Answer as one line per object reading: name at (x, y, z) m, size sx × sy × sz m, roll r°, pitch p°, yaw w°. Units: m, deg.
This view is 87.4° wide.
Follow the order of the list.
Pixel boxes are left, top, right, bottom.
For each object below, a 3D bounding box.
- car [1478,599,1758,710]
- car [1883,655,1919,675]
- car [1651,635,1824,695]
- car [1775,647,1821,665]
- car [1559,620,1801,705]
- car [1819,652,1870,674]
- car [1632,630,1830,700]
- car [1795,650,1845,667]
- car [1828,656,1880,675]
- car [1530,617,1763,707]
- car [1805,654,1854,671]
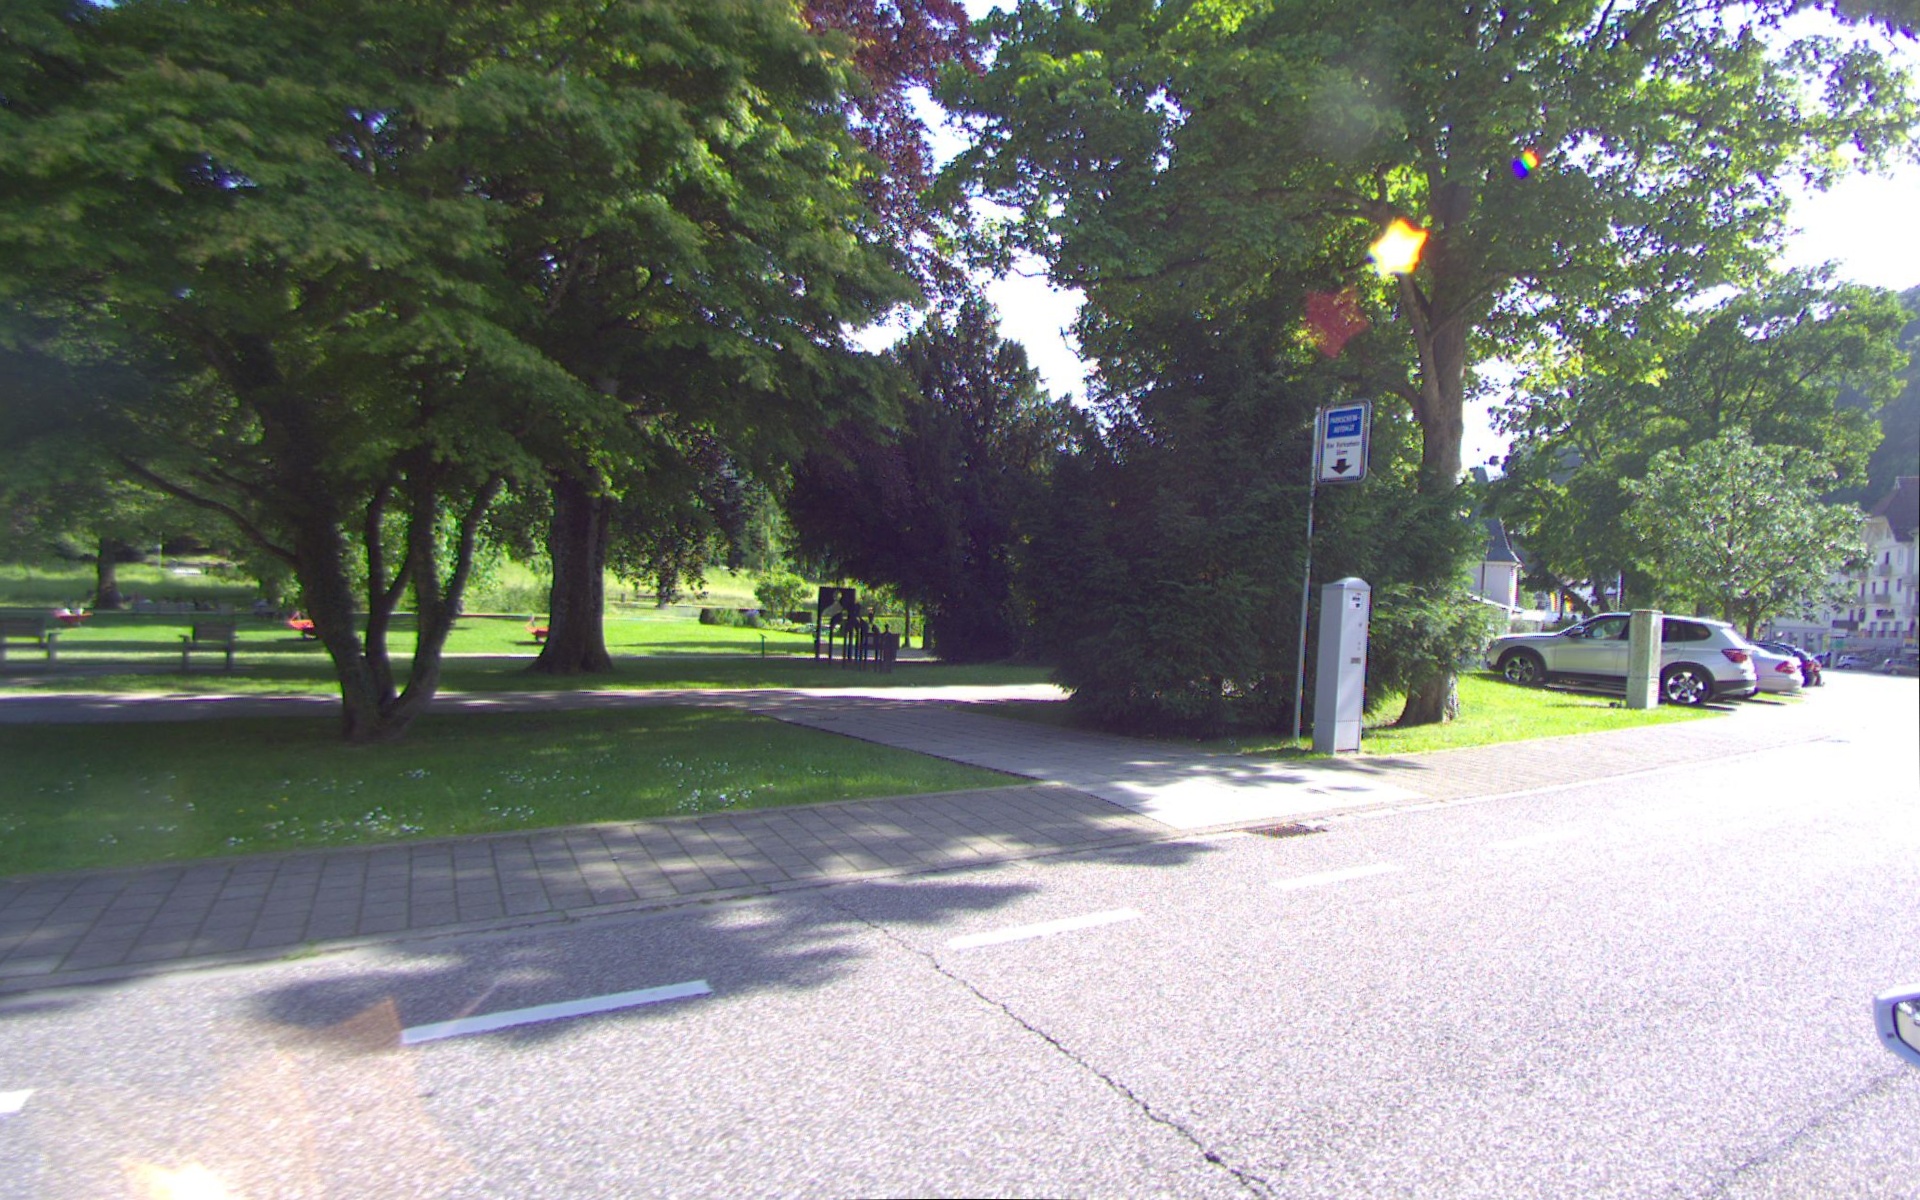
car at (13.202, 1.034, 20.335) m, size 4.432 × 1.685 × 1.801 m, roll 6°, pitch 1°, yaw 42°
car at (91.662, 6.322, 96.556) m, size 3.800 × 1.575 × 1.759 m, roll 6°, pitch 2°, yaw 27°
car at (25.022, 2.048, 32.540) m, size 4.216 × 1.451 × 1.708 m, roll 4°, pitch 2°, yaw 34°
car at (104.753, 6.999, 125.640) m, size 4.024 × 1.688 × 1.769 m, roll 8°, pitch 2°, yaw 29°
car at (17.029, 1.440, 23.884) m, size 4.432 × 1.436 × 1.801 m, roll 6°, pitch 1°, yaw 42°
car at (99.019, 7.053, 112.519) m, size 3.852 × 1.827 × 1.854 m, roll 7°, pitch 1°, yaw 29°
car at (22.673, 1.866, 29.712) m, size 4.438 × 1.530 × 1.706 m, roll 5°, pitch 1°, yaw 39°
car at (103.277, 7.002, 120.677) m, size 4.294 × 1.480 × 1.769 m, roll 6°, pitch 0°, yaw 32°
car at (97.843, 7.149, 109.985) m, size 3.852 × 1.610 × 1.772 m, roll 7°, pitch 2°, yaw 29°
car at (14.894, 1.298, 21.914) m, size 3.942 × 1.451 × 1.711 m, roll 6°, pitch 1°, yaw 42°
car at (99.653, 7.164, 115.125) m, size 3.852 × 1.480 × 1.733 m, roll 6°, pitch 2°, yaw 30°
